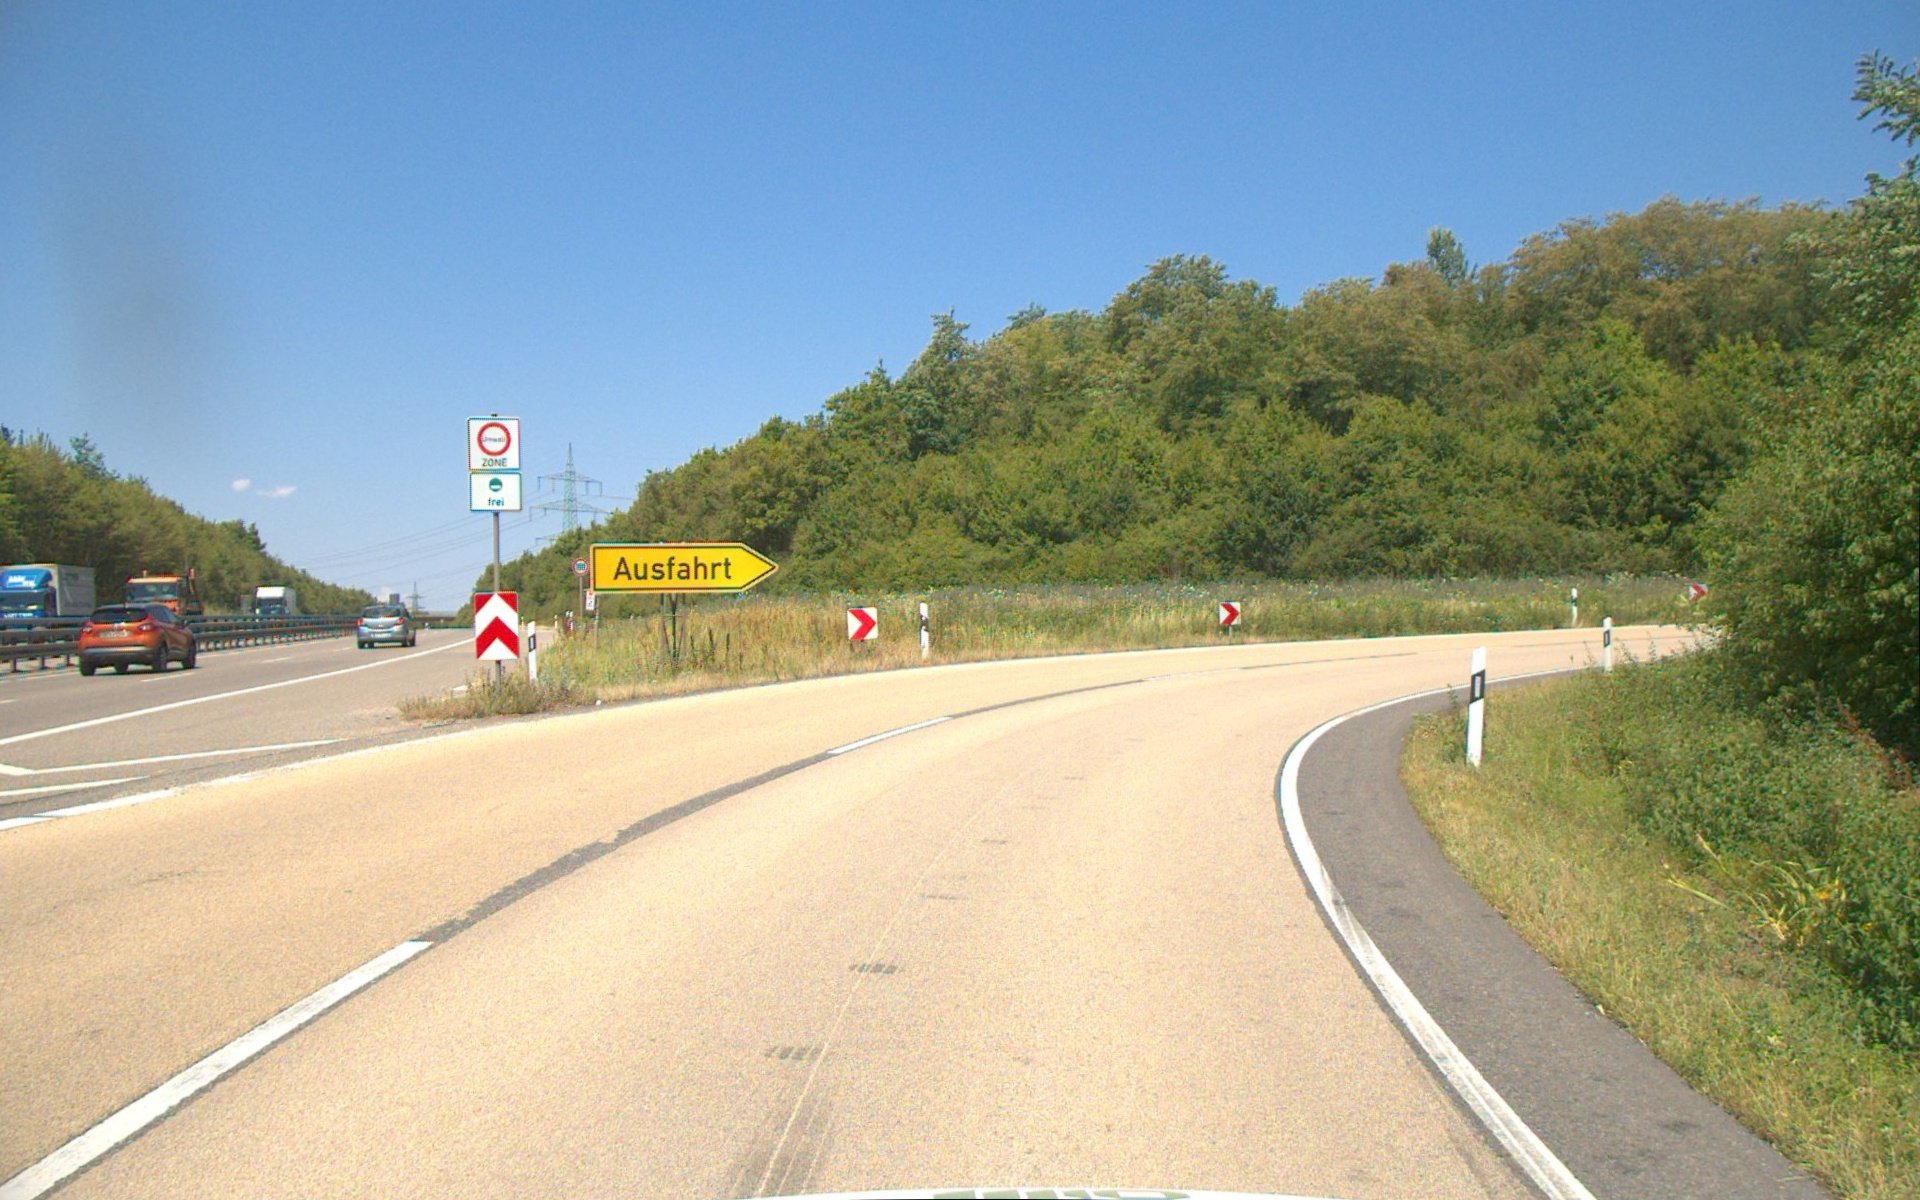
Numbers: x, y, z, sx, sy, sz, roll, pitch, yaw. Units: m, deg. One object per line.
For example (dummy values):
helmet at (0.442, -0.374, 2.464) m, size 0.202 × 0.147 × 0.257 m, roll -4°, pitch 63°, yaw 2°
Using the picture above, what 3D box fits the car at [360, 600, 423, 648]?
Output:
car at (-20.129, 0.827, 58.626) m, size 1.714 × 1.604 × 3.368 m, roll -2°, pitch 0°, yaw -13°

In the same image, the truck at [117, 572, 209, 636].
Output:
truck at (-41.184, 0.217, 85.710) m, size 2.550 × 3.116 × 8.176 m, roll -1°, pitch 0°, yaw -13°

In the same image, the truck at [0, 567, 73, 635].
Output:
truck at (-42.805, 0.037, 76.639) m, size 2.269 × 3.062 × 3.066 m, roll -1°, pitch 0°, yaw -14°

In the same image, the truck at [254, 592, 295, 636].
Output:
truck at (-65.462, 1.326, 158.072) m, size 2.864 × 4.008 × 5.395 m, roll -2°, pitch 0°, yaw -15°

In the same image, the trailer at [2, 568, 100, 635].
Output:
trailer at (-43.663, 0.037, 79.642) m, size 2.259 × 3.062 × 7.196 m, roll -1°, pitch 0°, yaw -14°

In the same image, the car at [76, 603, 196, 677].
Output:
car at (-19.032, 0.889, 38.325) m, size 1.714 × 1.581 × 3.368 m, roll -2°, pitch 0°, yaw -13°
